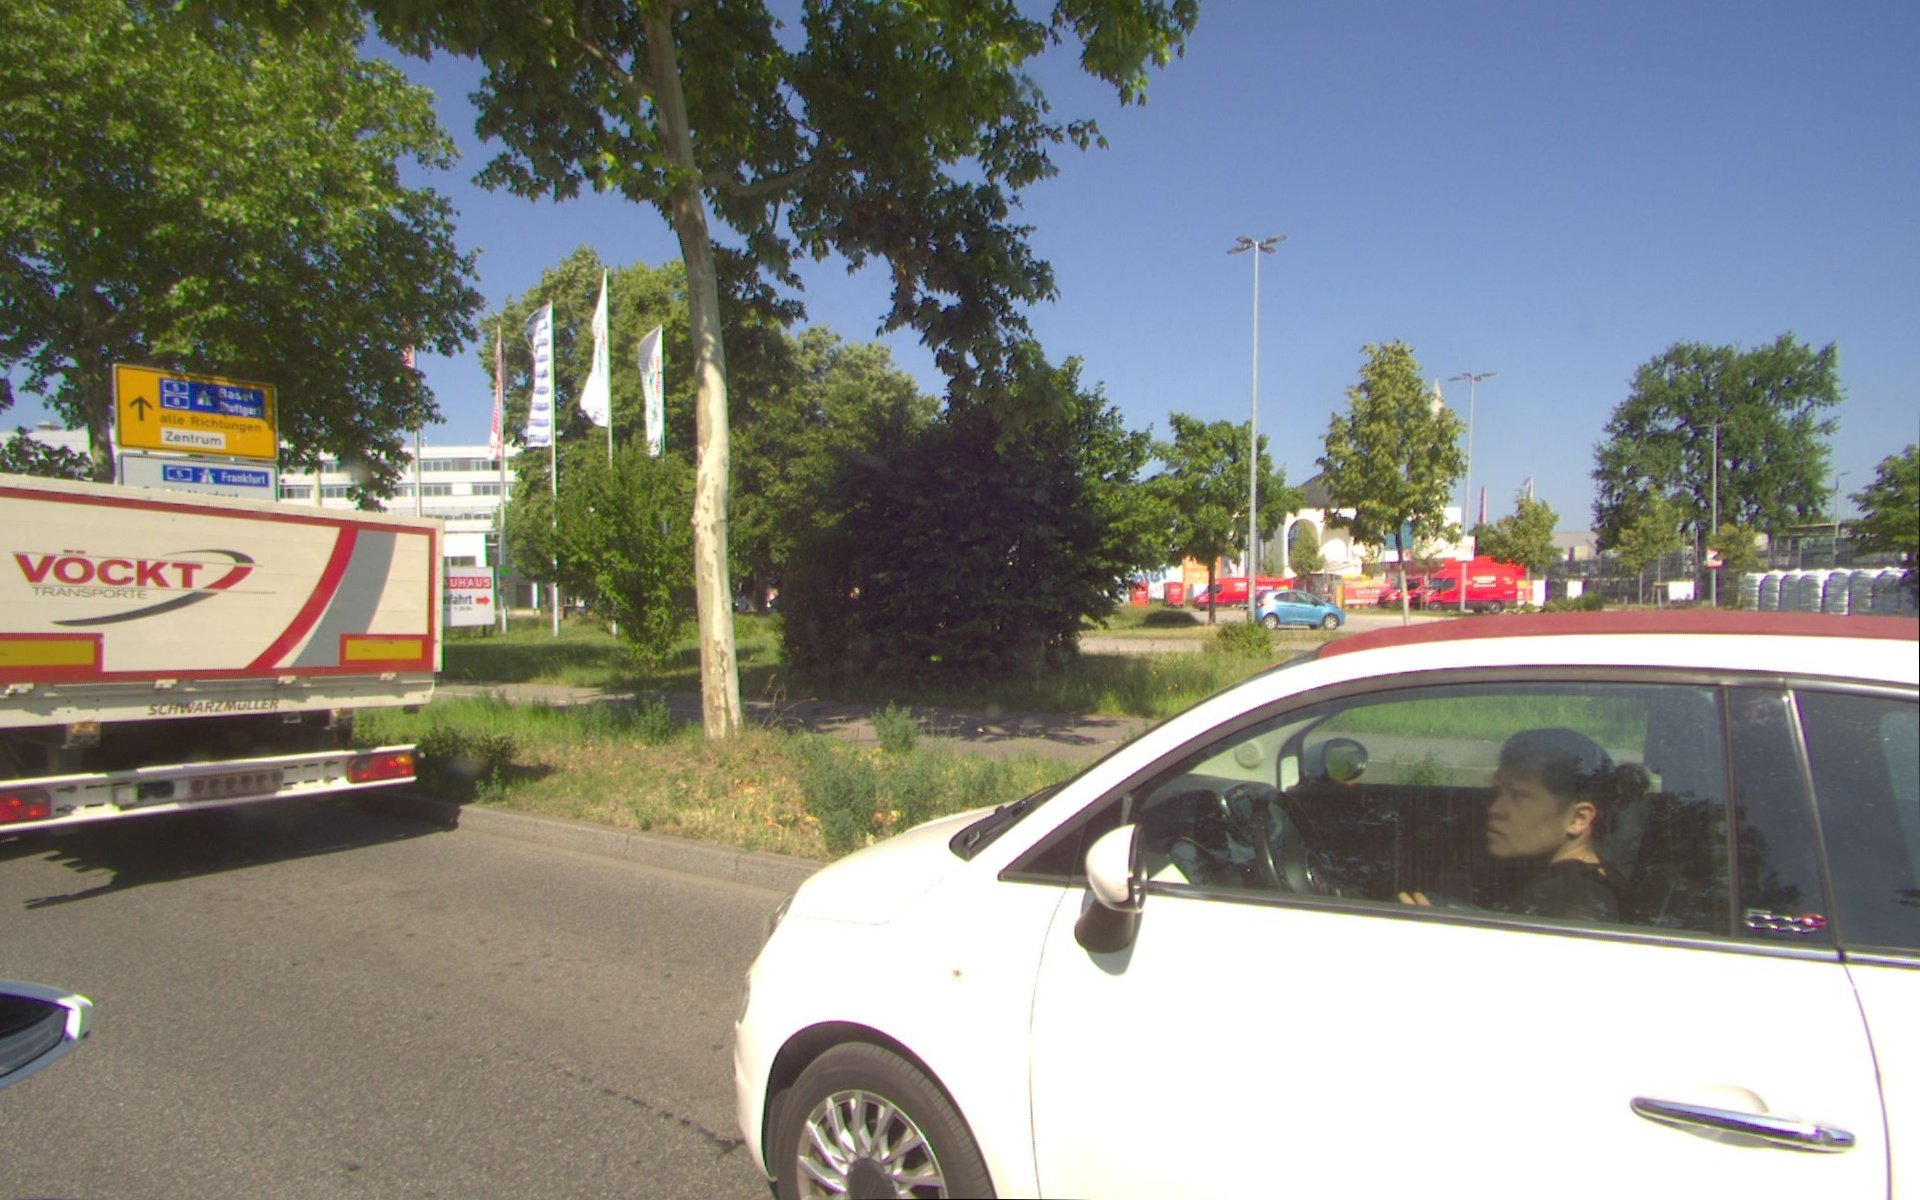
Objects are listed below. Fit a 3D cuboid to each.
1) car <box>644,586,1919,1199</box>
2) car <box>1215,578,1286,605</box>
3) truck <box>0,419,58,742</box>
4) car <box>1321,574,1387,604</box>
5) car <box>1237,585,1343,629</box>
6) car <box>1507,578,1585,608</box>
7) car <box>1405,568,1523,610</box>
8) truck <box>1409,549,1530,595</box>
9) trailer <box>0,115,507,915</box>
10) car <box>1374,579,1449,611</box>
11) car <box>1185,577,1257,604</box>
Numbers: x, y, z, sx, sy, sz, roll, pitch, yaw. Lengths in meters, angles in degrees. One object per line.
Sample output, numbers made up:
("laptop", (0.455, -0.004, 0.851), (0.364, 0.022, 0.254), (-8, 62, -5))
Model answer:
("car", (1.112, 0.735, 2.167), (3.472, 1.455, 1.657), (-1, -1, 35))
("car", (21.863, -0.625, 75.362), (4.824, 1.906, 1.770), (0, -1, 2))
("truck", (-14.946, -0.178, 12.921), (7.370, 3.806, 3.066), (-1, -1, 32))
("car", (28.359, -0.803, 72.175), (3.922, 2.040, 2.000), (0, -1, 2))
("car", (12.318, 0.283, 37.486), (3.387, 1.591, 1.745), (0, -1, -2))
("car", (41.406, -0.503, 70.807), (4.304, 2.040, 2.000), (0, -1, -2))
("car", (29.523, -0.609, 58.826), (5.823, 2.371, 2.115), (0, -1, 2))
("truck", (38.069, -2.045, 74.970), (8.067, 3.290, 2.000), (0, -1, -2))
("trailer", (-8.978, -0.275, 9.004), (12.070, 3.789, 3.009), (-1, -1, 34))
("car", (28.233, -0.277, 62.739), (3.924, 1.884, 1.999), (-1, -1, 11))
("car", (21.070, -0.744, 80.954), (5.188, 2.040, 2.000), (0, -1, -4))
